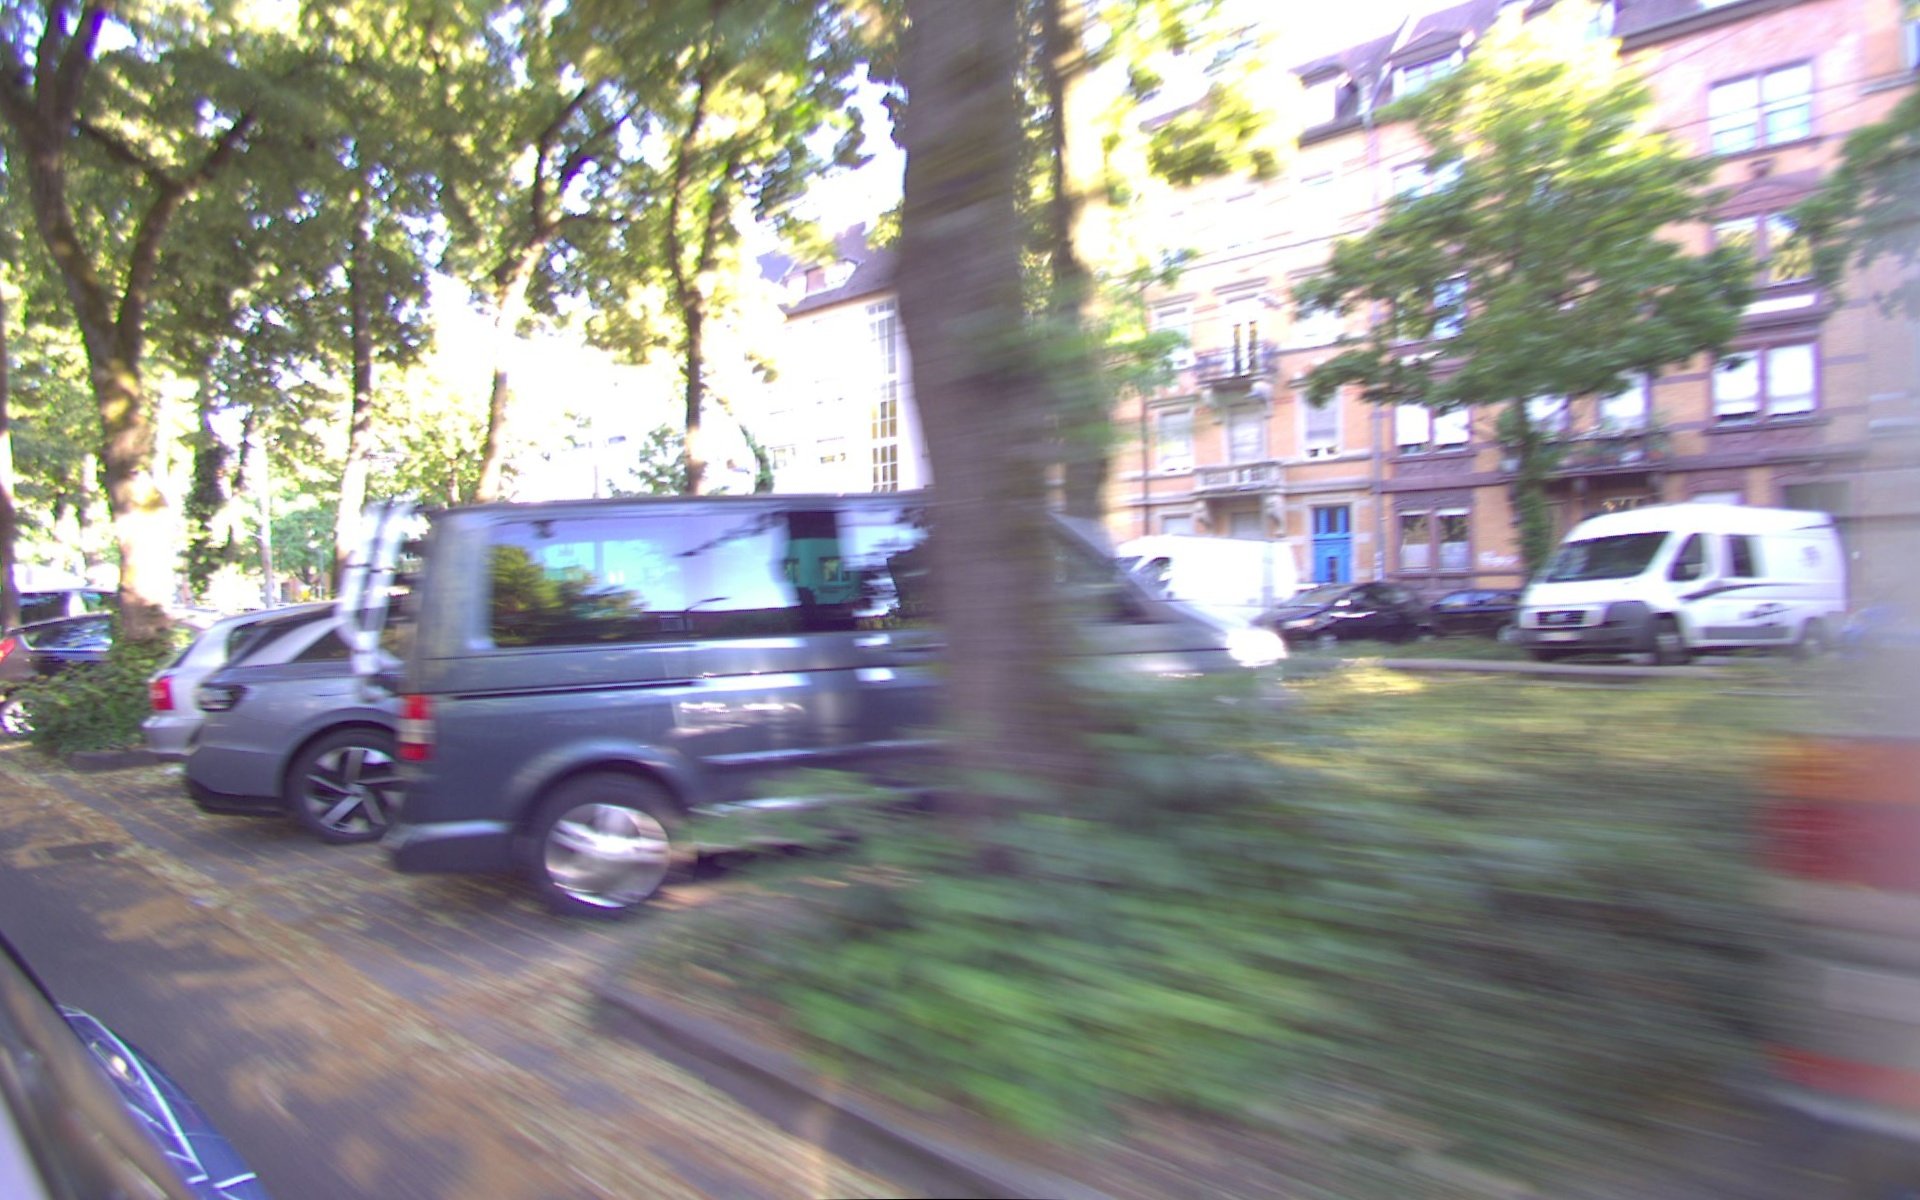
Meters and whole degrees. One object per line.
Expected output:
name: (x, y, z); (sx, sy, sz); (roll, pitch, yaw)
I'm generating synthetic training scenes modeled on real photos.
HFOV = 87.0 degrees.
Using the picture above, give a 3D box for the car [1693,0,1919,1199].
car: (4.142, 0.080, 1.620); (5.420, 2.152, 2.088); (-4, 3, -20)

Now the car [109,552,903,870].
car: (-2.872, 0.574, 7.283); (4.494, 1.552, 1.941); (-4, 3, -17)

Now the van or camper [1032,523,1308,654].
van or camper: (4.459, -0.232, 21.300); (5.579, 2.487, 2.006); (-1, -1, -26)

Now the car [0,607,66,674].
car: (-24.467, 1.090, 24.683); (3.490, 1.504, 1.832); (-4, 3, -21)

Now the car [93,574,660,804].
car: (-4.895, 0.641, 9.158); (4.024, 1.499, 1.790); (-4, 3, -19)

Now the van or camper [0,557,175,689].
van or camper: (-19.557, 0.500, 20.872); (4.802, 2.488, 2.052); (-4, 3, -23)

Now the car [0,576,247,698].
car: (-16.715, 0.676, 19.139); (4.802, 1.992, 2.052); (-4, 3, -21)

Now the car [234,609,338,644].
car: (-31.917, 1.239, 48.066); (3.815, 1.455, 1.860); (-2, 1, -24)

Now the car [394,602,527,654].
car: (-20.832, 1.151, 42.412); (4.737, 2.029, 2.006); (-1, -1, -16)

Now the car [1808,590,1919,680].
car: (13.615, 0.434, 13.486); (4.095, 1.106, 1.833); (0, -1, -22)

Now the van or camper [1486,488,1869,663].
van or camper: (11.265, -0.356, 15.900); (5.455, 2.389, 2.315); (-1, -1, -23)

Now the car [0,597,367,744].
car: (-10.096, 0.831, 13.094); (3.760, 1.449, 1.831); (-4, 3, -16)

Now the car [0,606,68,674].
car: (-26.542, 1.164, 26.781); (3.972, 1.674, 1.863); (-5, 3, -28)

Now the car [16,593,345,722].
car: (-11.558, 0.773, 15.327); (3.490, 1.504, 1.832); (-4, 3, -21)

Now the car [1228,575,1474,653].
car: (7.535, 0.252, 19.579); (4.250, 1.373, 1.736); (-1, -1, -17)

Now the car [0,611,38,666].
car: (-28.921, 1.225, 28.299); (4.171, 1.451, 1.863); (-5, 3, -25)

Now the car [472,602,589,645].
car: (-16.217, 0.861, 38.236); (3.931, 1.438, 1.778); (-2, 0, -26)

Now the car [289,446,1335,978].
car: (-0.593, 0.317, 5.515); (4.634, 1.957, 1.941); (-4, 3, -17)

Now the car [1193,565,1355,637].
car: (8.840, 0.037, 28.588); (3.911, 1.796, 1.833); (-2, 2, 39)

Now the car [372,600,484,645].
car: (-23.078, 0.947, 44.081); (4.245, 1.832, 1.819); (-1, -1, -25)
